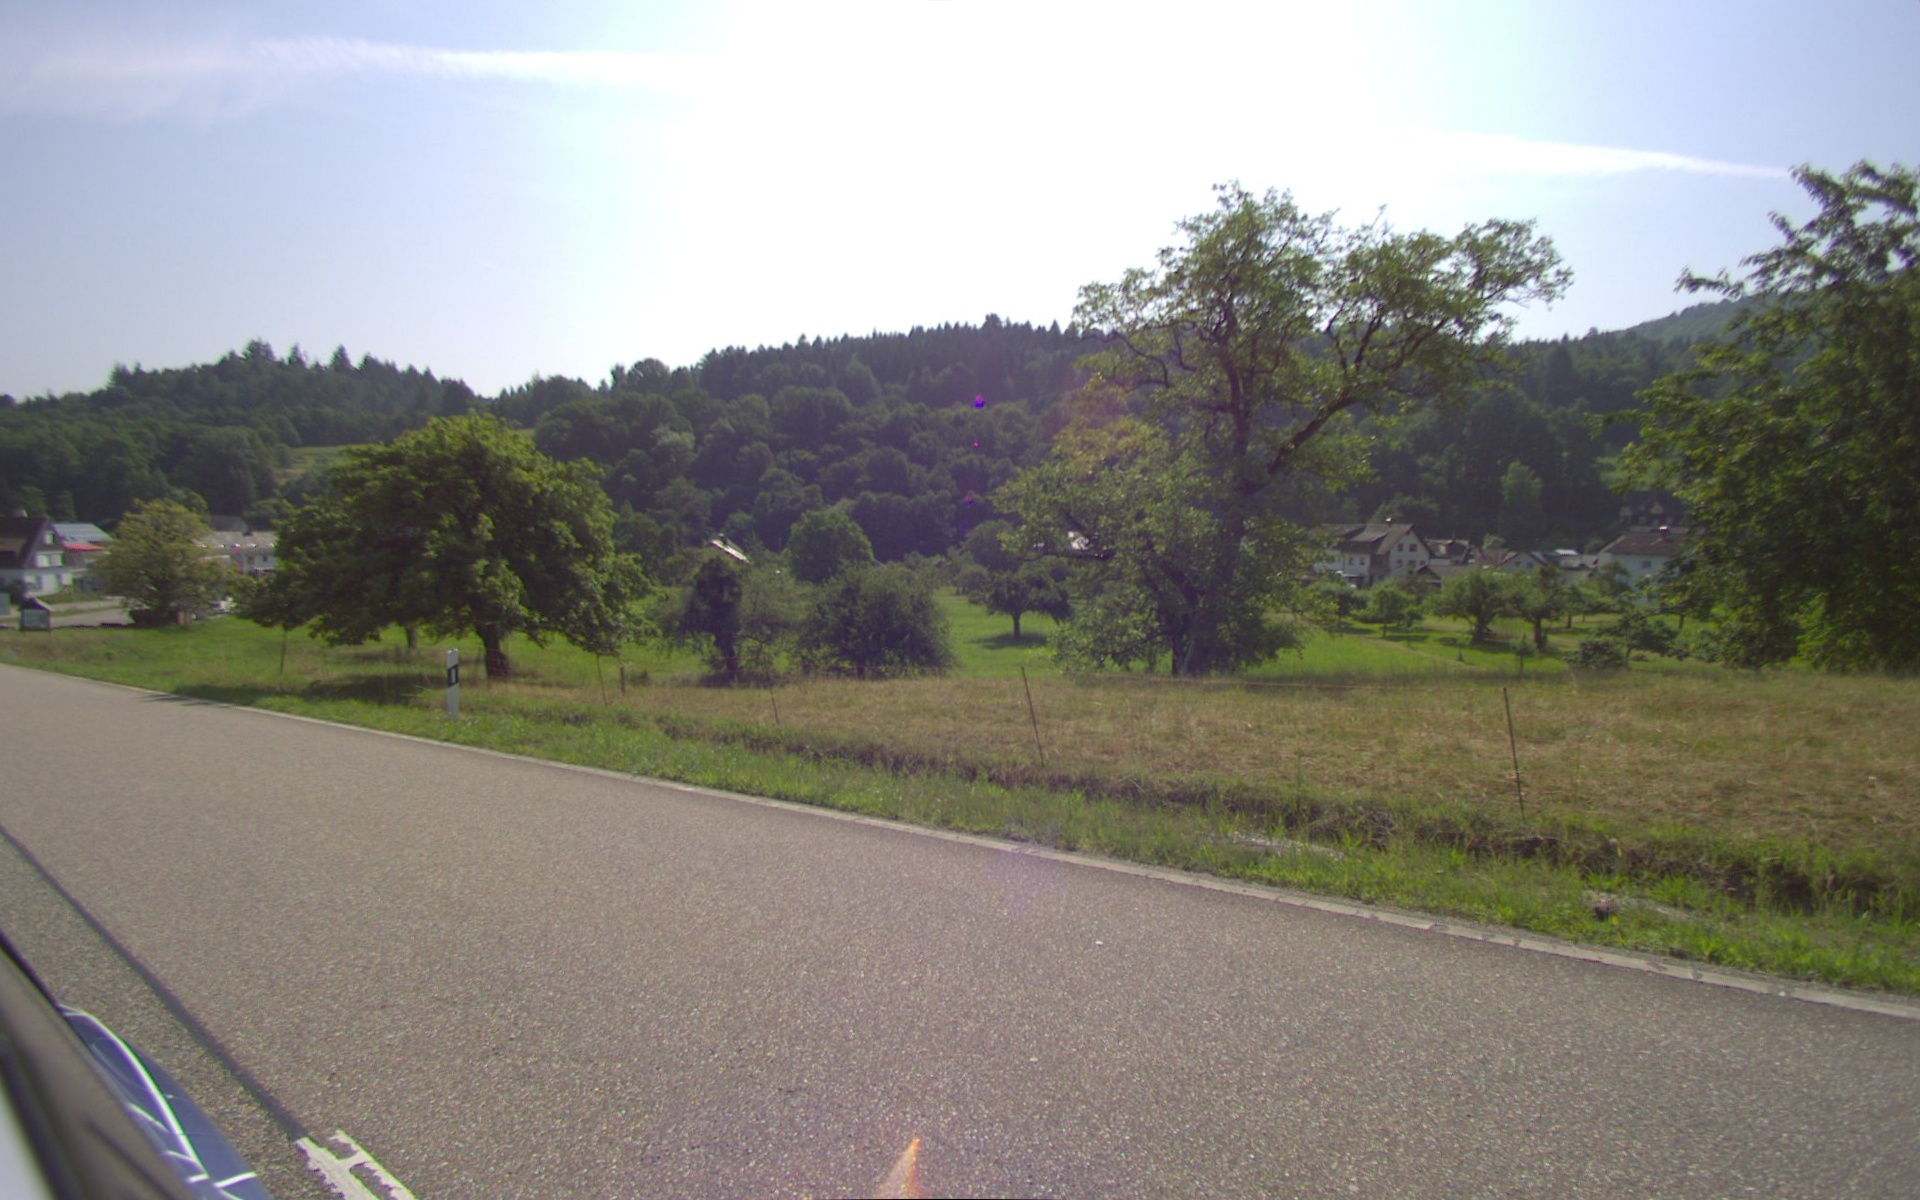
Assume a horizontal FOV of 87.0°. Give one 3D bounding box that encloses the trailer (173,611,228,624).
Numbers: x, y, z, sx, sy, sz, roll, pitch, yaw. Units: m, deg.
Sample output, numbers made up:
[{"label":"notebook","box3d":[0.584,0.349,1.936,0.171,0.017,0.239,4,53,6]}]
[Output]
[{"label":"trailer","box3d":[-73.474,1.696,97.959,3.878,0.946,1.874,-1,4,-17]}]
